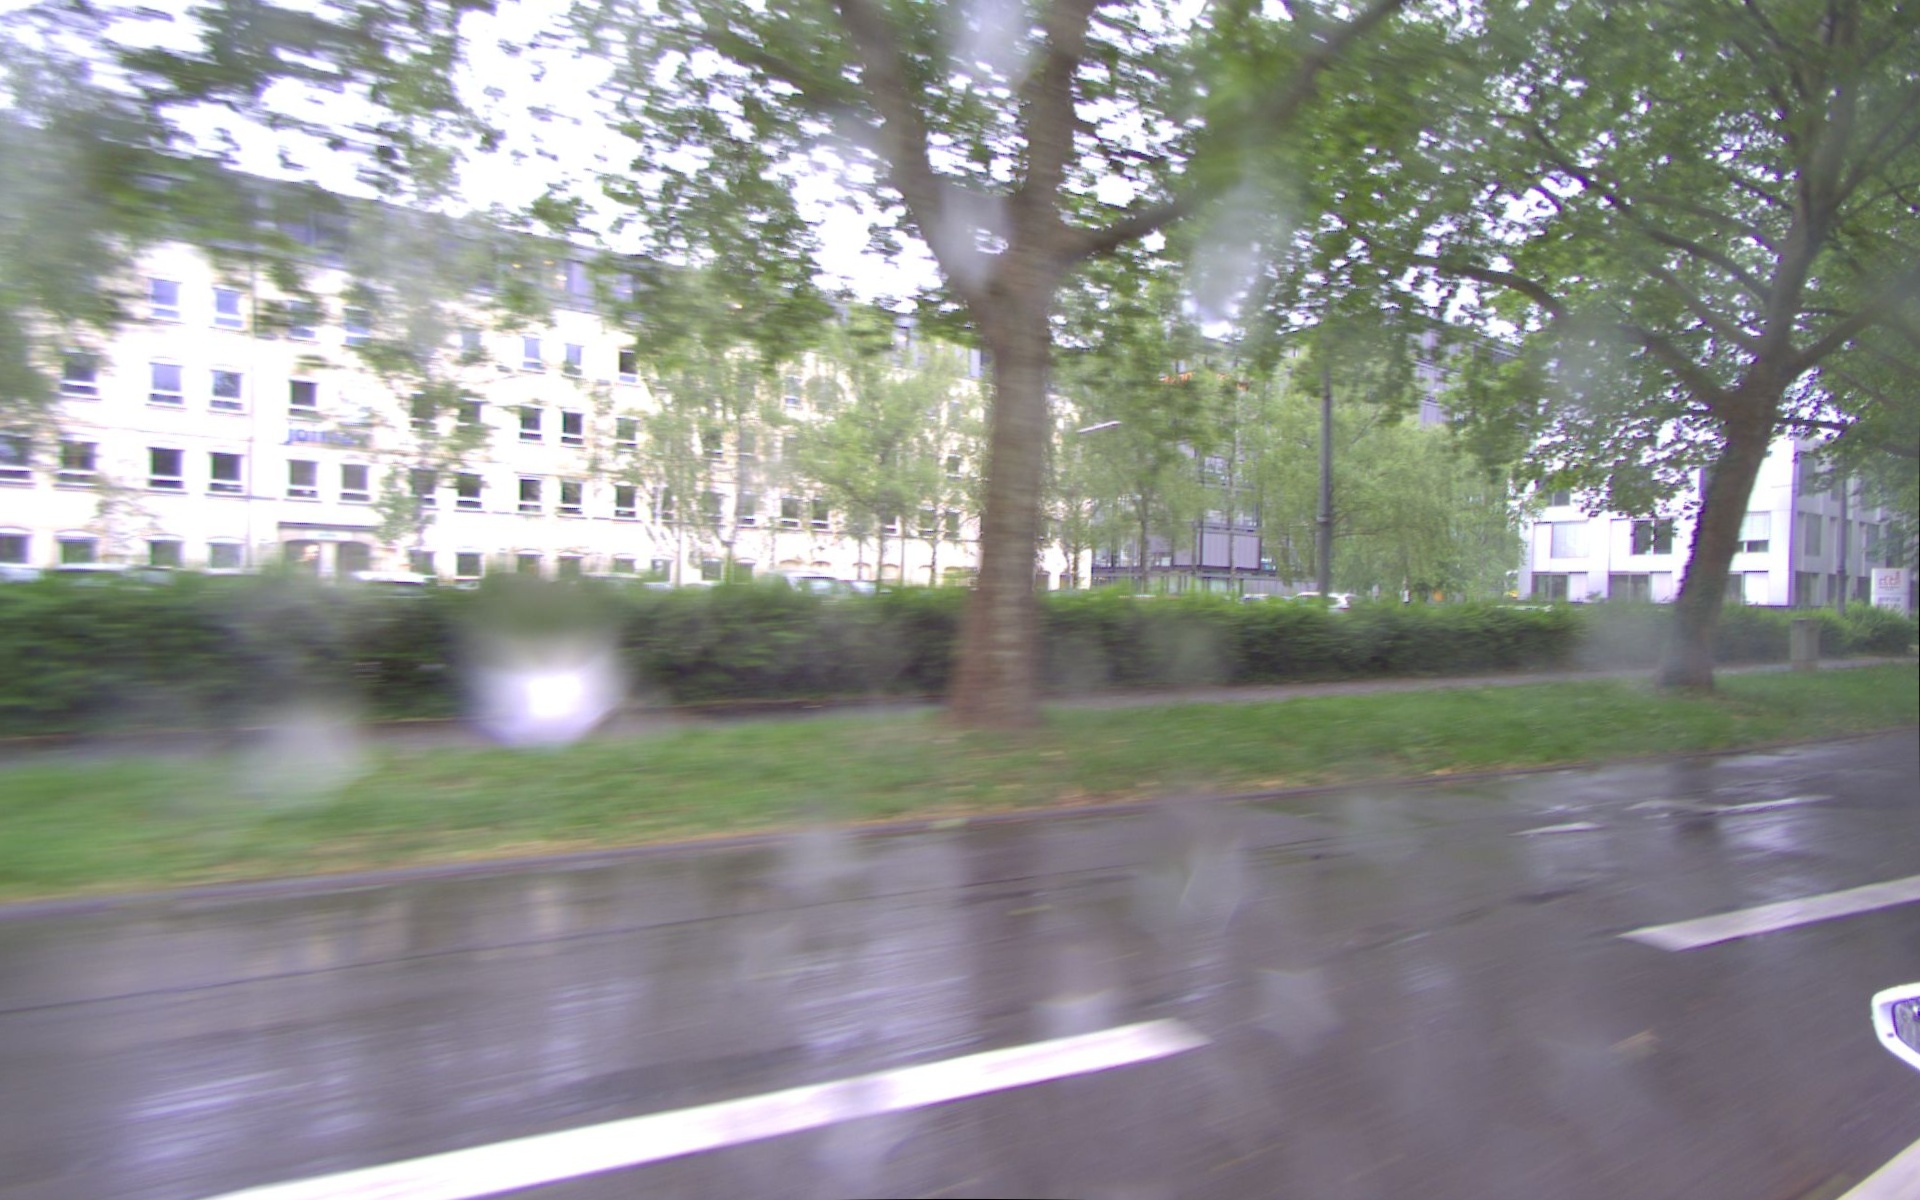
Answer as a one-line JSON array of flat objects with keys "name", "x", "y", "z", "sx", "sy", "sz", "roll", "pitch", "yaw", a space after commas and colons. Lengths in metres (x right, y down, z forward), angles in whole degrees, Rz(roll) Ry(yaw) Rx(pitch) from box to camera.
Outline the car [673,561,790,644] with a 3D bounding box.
[{"name": "car", "x": -6.228, "y": 0.076, "z": 27.022, "sx": 1.977, "sy": 2.040, "sz": 3.967, "roll": 0, "pitch": 0, "yaw": -30}]

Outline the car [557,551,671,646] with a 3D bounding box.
[{"name": "car", "x": -8.635, "y": -0.024, "z": 24.872, "sx": 1.976, "sy": 2.161, "sz": 3.968, "roll": 0, "pitch": 0, "yaw": -30}]

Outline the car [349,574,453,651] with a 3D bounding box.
[{"name": "car", "x": -12.516, "y": 0.232, "z": 22.587, "sx": 1.863, "sy": 1.571, "sz": 3.969, "roll": 1, "pitch": 1, "yaw": -29}]

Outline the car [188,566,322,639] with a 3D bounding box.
[{"name": "car", "x": -14.839, "y": 0.052, "z": 21.365, "sx": 1.863, "sy": 1.392, "sz": 3.970, "roll": 1, "pitch": 0, "yaw": -29}]

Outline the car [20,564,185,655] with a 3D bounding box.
[{"name": "car", "x": -16.931, "y": 0.130, "z": 20.035, "sx": 1.833, "sy": 1.620, "sz": 3.966, "roll": 1, "pitch": 1, "yaw": -31}]

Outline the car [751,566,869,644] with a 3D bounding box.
[{"name": "car", "x": -4.312, "y": 0.134, "z": 28.342, "sx": 1.977, "sy": 2.040, "sz": 3.967, "roll": 0, "pitch": 0, "yaw": -30}]

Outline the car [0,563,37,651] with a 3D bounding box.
[{"name": "car", "x": -18.894, "y": 0.112, "z": 18.617, "sx": 1.833, "sy": 1.620, "sz": 3.966, "roll": 1, "pitch": 1, "yaw": -31}]

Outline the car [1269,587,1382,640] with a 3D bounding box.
[{"name": "car", "x": 14.796, "y": 0.535, "z": 40.852, "sx": 1.976, "sy": 2.040, "sz": 3.969, "roll": 1, "pitch": -1, "yaw": -30}]
